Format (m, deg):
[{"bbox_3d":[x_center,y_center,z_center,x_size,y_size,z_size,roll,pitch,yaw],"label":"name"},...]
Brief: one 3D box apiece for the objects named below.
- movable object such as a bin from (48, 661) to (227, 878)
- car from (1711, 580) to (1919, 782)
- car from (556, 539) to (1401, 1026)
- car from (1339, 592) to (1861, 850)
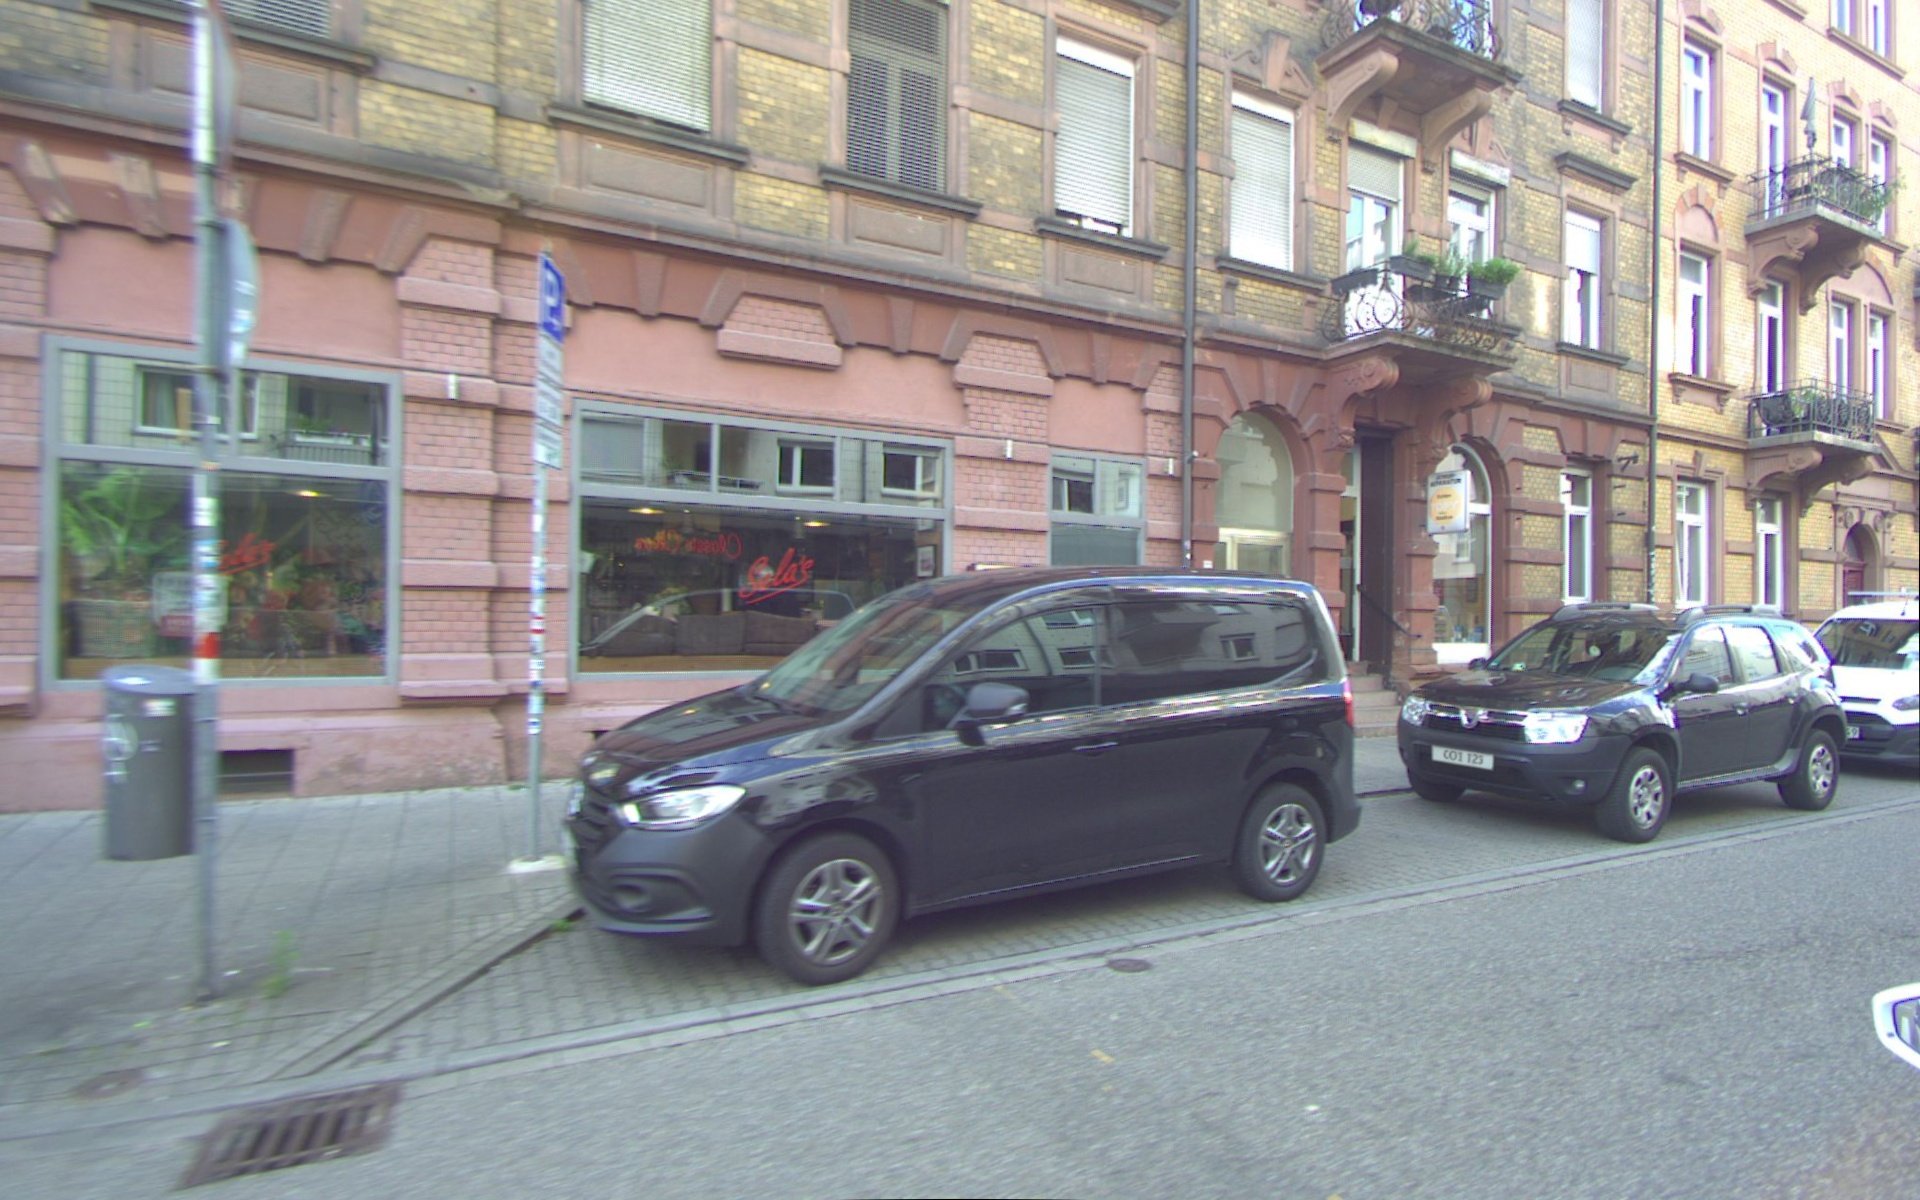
[{"bbox_3d":[-3.087,0.610,3.801,0.470,0.724,0.381,1,1,-32],"label":"movable object such as a bin"},{"bbox_3d":[10.596,0.782,11.200,4.382,1.896,1.911,1,0,-29],"label":"car"},{"bbox_3d":[0.219,0.681,5.536,4.352,1.797,1.752,1,2,-29],"label":"car"},{"bbox_3d":[5.389,0.810,8.407,4.095,1.660,1.985,1,0,-29],"label":"car"}]
